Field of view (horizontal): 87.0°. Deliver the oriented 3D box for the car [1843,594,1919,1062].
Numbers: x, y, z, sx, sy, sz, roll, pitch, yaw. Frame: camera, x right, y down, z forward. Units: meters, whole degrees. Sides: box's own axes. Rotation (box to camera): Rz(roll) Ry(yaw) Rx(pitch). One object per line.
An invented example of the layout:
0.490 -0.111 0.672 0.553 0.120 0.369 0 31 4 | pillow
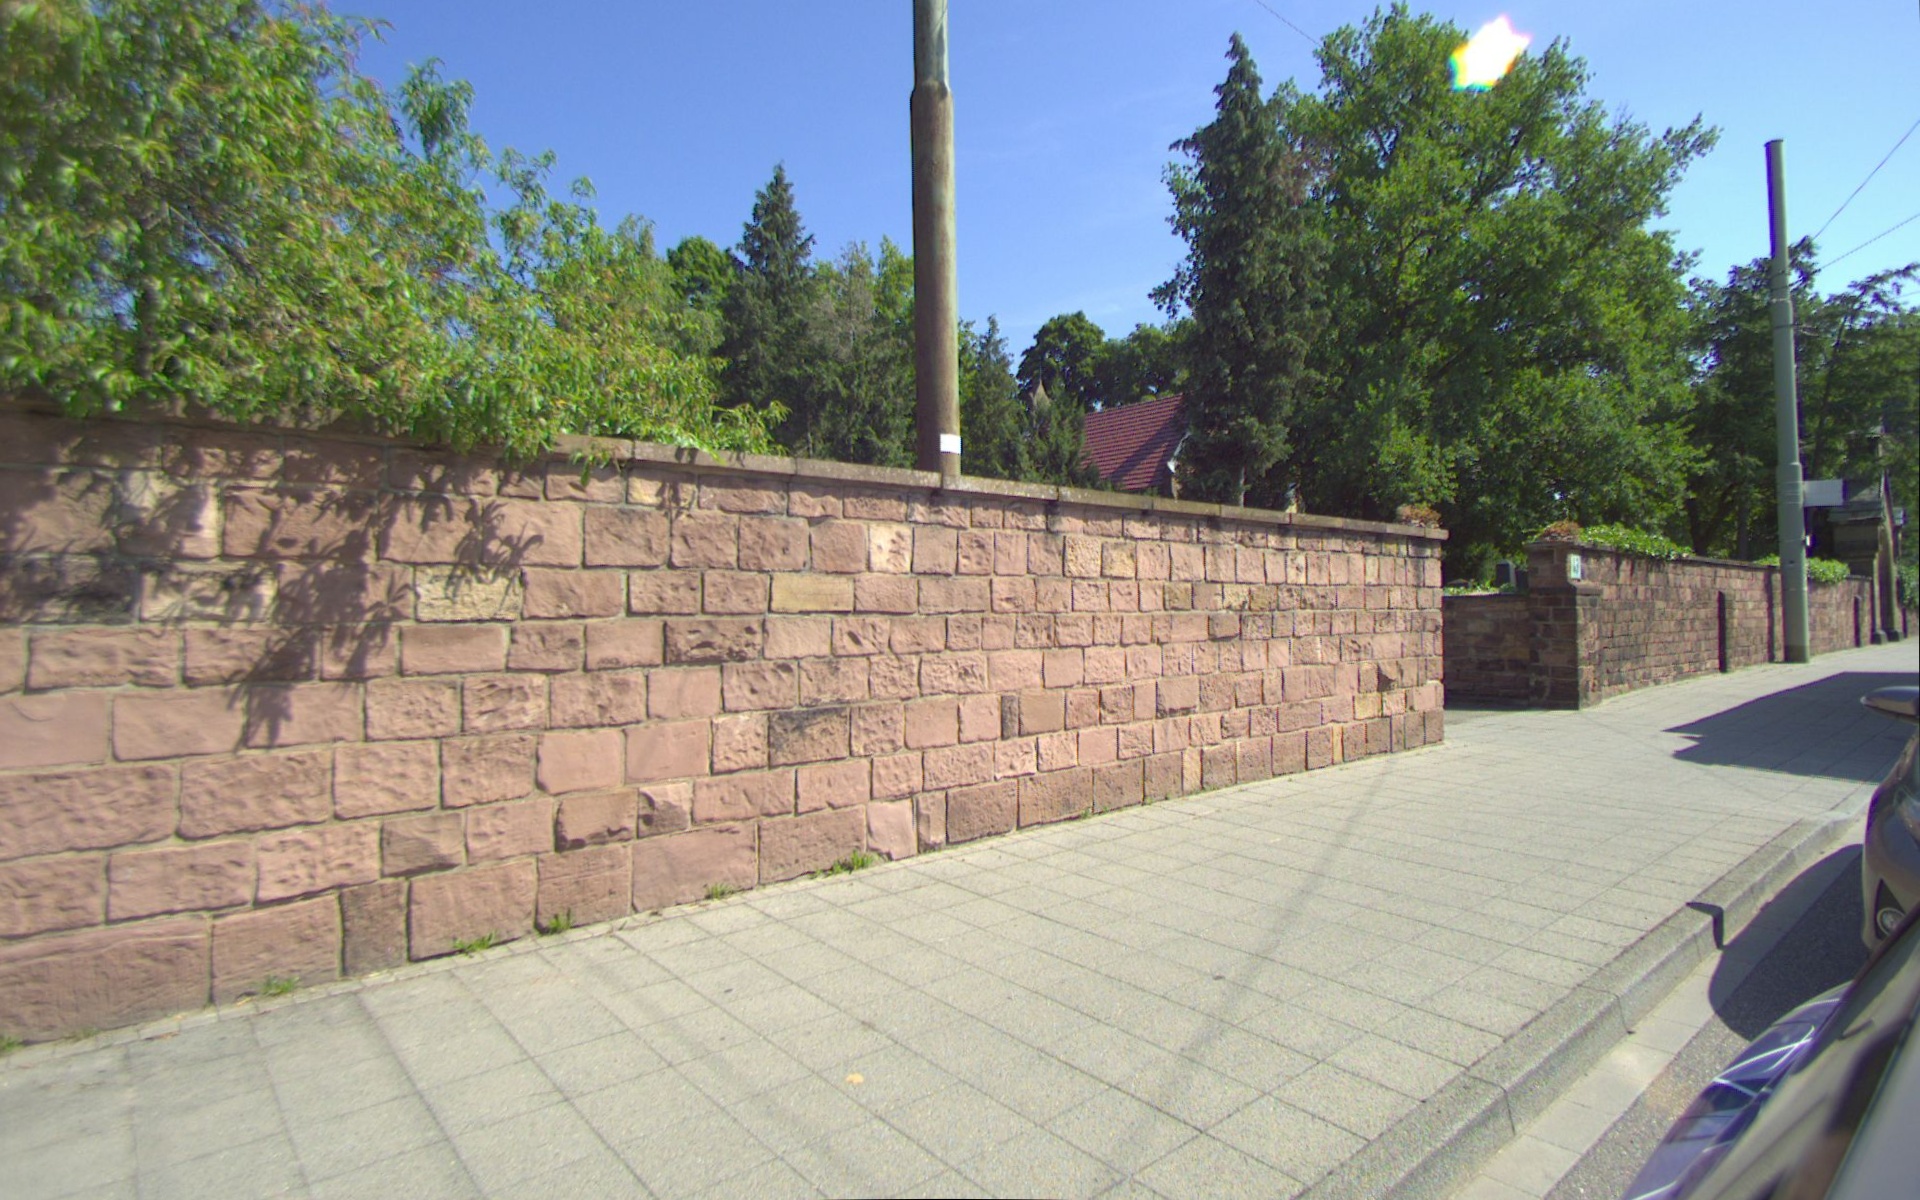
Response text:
5.077 0.701 4.051 4.384 1.451 1.741 0 0 -41 | car
